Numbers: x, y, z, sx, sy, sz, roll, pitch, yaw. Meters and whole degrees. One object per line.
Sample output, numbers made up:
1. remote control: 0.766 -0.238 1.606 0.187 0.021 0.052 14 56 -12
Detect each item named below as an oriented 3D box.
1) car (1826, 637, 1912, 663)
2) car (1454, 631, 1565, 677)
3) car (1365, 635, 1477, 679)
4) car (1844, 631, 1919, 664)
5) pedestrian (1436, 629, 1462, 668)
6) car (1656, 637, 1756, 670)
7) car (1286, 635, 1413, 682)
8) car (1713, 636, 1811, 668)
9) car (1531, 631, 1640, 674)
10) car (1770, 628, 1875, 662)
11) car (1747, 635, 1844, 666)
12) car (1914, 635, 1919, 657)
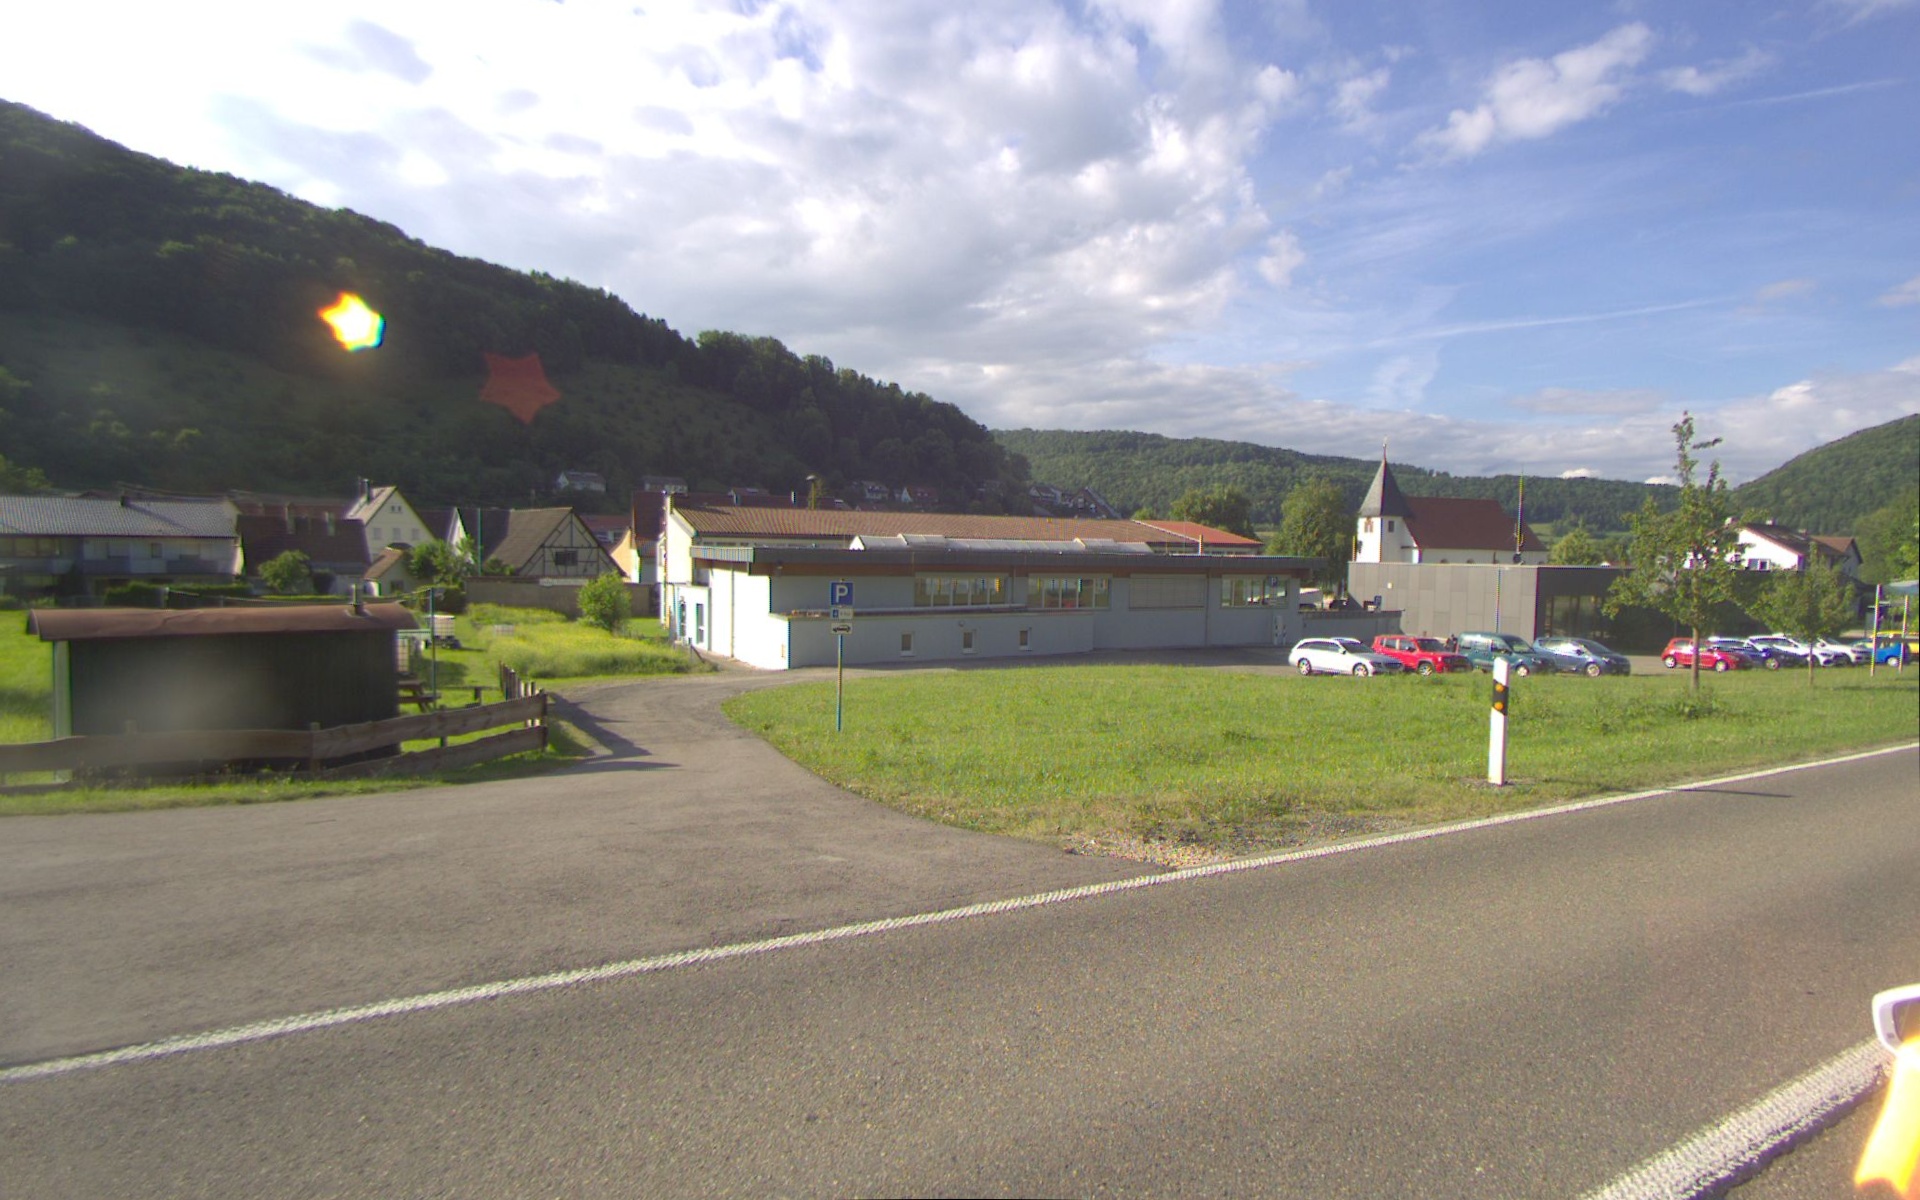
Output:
1. car: 51.814 2.829 57.304 1.642 1.392 3.351 1 -1 -32
2. car: 23.355 2.270 42.840 1.733 1.745 3.847 1 0 -27
3. car: 18.427 2.248 40.313 1.732 1.600 3.908 1 -1 -25
4. car: 54.362 2.734 58.067 1.816 1.839 4.541 1 -1 -24
5. pedestrian: 22.378 2.223 45.979 0.698 1.716 0.788 1 1 -37
6. car: 36.454 2.593 49.165 1.625 1.463 3.615 1 -1 -24
7. car: 15.348 2.268 39.842 1.973 1.610 4.627 1 -1 -25
8. car: 40.882 2.639 51.276 1.574 1.424 3.615 -1 0 -24
9. car: 27.628 2.301 44.506 1.709 1.744 3.806 1 -1 -25
10. car: 46.652 2.424 54.434 1.574 1.695 4.066 0 -1 -24
11. car: 43.852 2.616 52.805 1.574 1.513 3.656 0 -1 -24
12. car: 62.914 2.953 63.366 1.488 1.458 3.703 1 -1 -24
